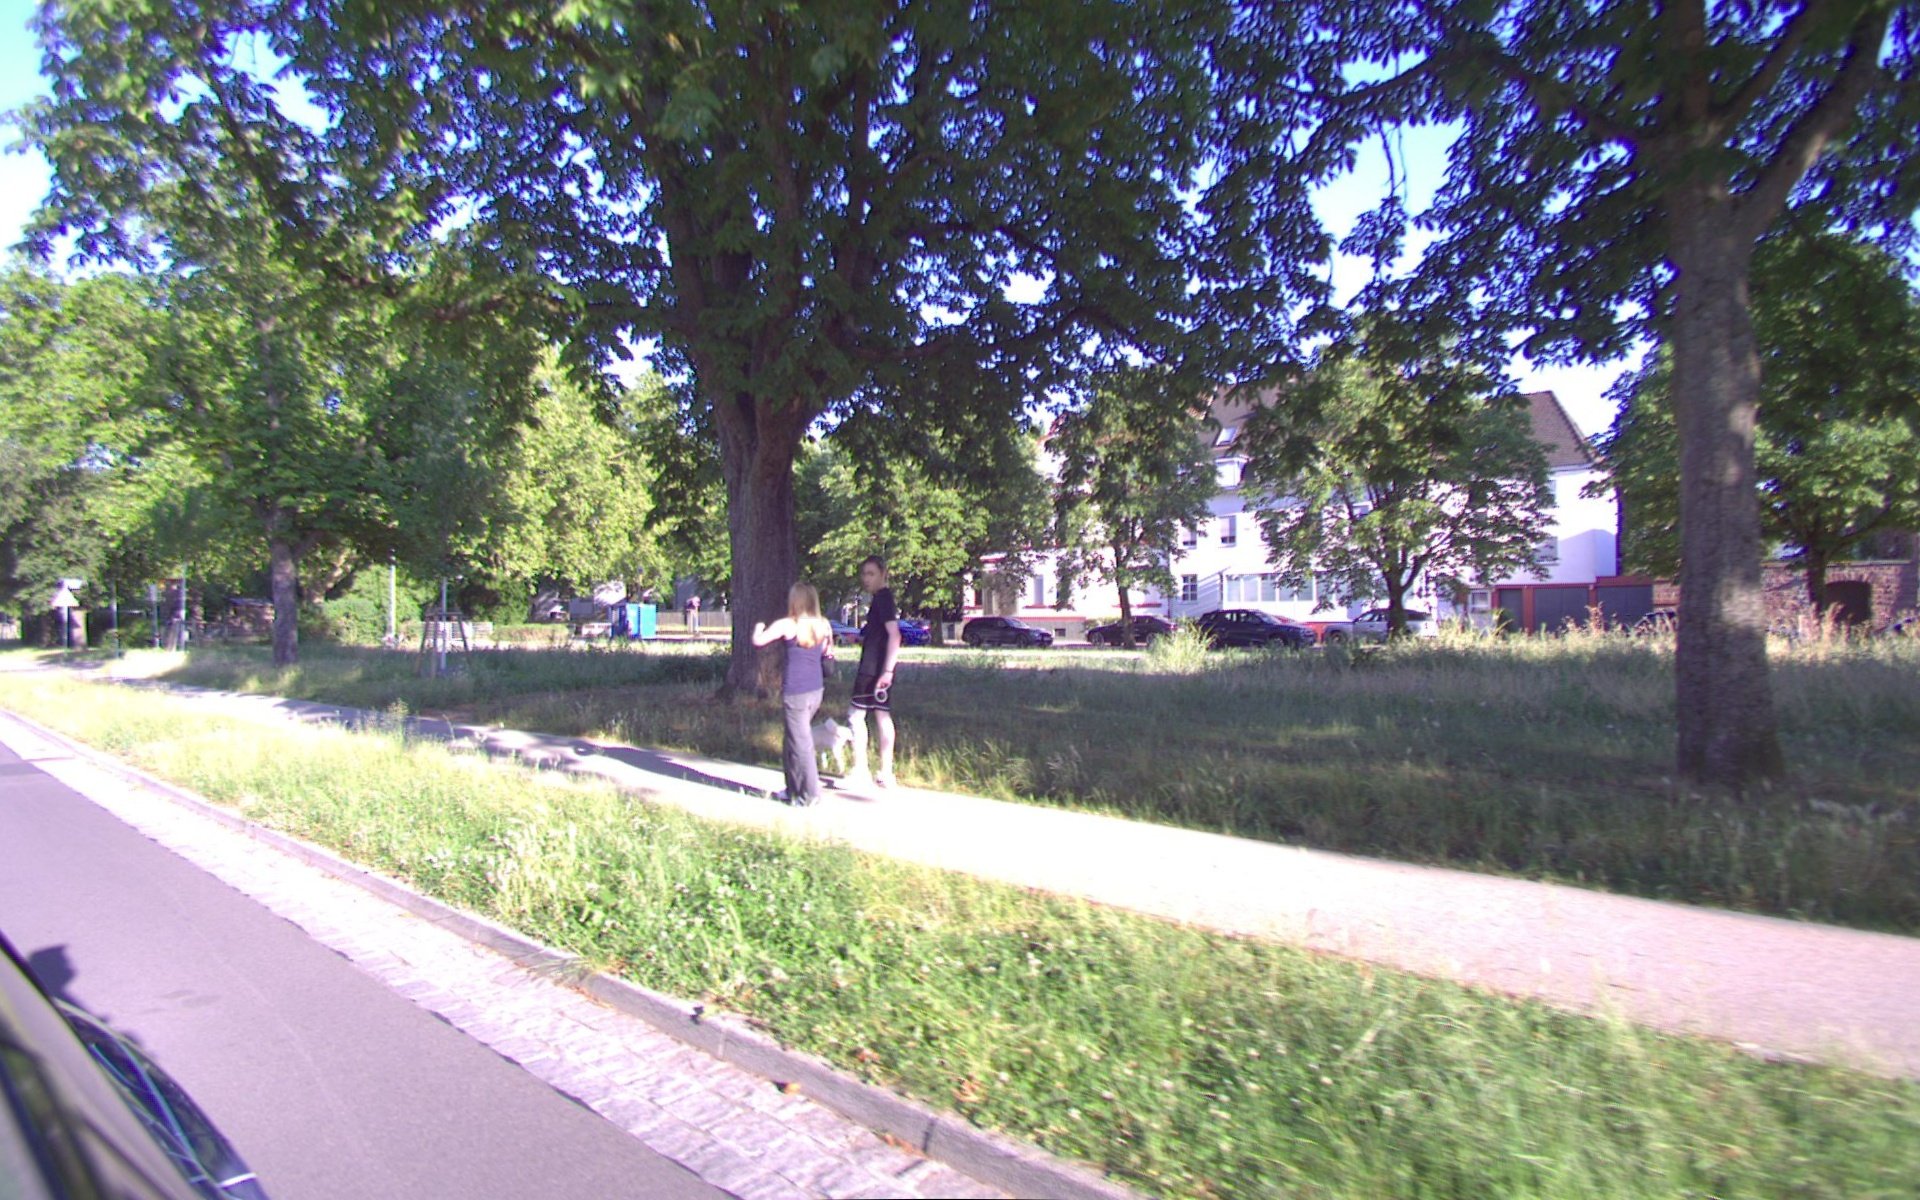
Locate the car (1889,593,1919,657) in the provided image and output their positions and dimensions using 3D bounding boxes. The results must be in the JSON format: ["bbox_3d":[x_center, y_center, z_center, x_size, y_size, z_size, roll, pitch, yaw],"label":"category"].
[{"bbox_3d":[25.903,0.584,25.008,4.218,1.609,1.675,-2,-1,41],"label":"car"}]

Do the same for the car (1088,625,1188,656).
[{"bbox_3d":[8.328,1.862,47.611,4.480,1.342,1.553,-2,0,43],"label":"car"}]

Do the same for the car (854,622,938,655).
[{"bbox_3d":[-3.286,1.948,51.429,4.216,1.609,1.676,-2,-1,39],"label":"car"}]

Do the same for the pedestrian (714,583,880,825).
[{"bbox_3d":[-1.198,0.710,7.414,0.952,1.627,0.774,-2,-2,45],"label":"pedestrian"}]

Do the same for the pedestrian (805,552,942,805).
[{"bbox_3d":[-0.686,0.585,7.921,0.886,1.845,0.617,-2,-2,45],"label":"pedestrian"}]

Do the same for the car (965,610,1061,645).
[{"bbox_3d":[2.375,1.258,46.090,4.217,1.487,1.675,-2,-1,40],"label":"car"}]

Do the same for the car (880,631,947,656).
[{"bbox_3d":[-2.709,2.475,58.126,3.851,1.342,1.553,-2,0,43],"label":"car"}]

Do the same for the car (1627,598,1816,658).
[{"bbox_3d":[21.811,0.805,29.092,4.218,1.609,1.675,-2,-1,41],"label":"car"}]

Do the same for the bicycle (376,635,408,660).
[{"bbox_3d":[-28.730,2.409,51.206,0.417,1.196,1.579,0,-1,18],"label":"bicycle"}]

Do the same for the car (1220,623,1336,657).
[{"bbox_3d":[13.551,1.693,43.283,4.478,1.342,1.553,-2,0,43],"label":"car"}]

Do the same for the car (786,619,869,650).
[{"bbox_3d":[-7.236,1.858,54.979,4.750,1.609,1.676,-2,-1,39],"label":"car"}]

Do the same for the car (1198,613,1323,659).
[{"bbox_3d":[11.339,1.359,38.361,4.218,1.609,1.675,-2,-1,41],"label":"car"}]

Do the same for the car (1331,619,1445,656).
[{"bbox_3d":[16.926,1.460,40.100,3.851,1.342,1.553,-2,0,43],"label":"car"}]
